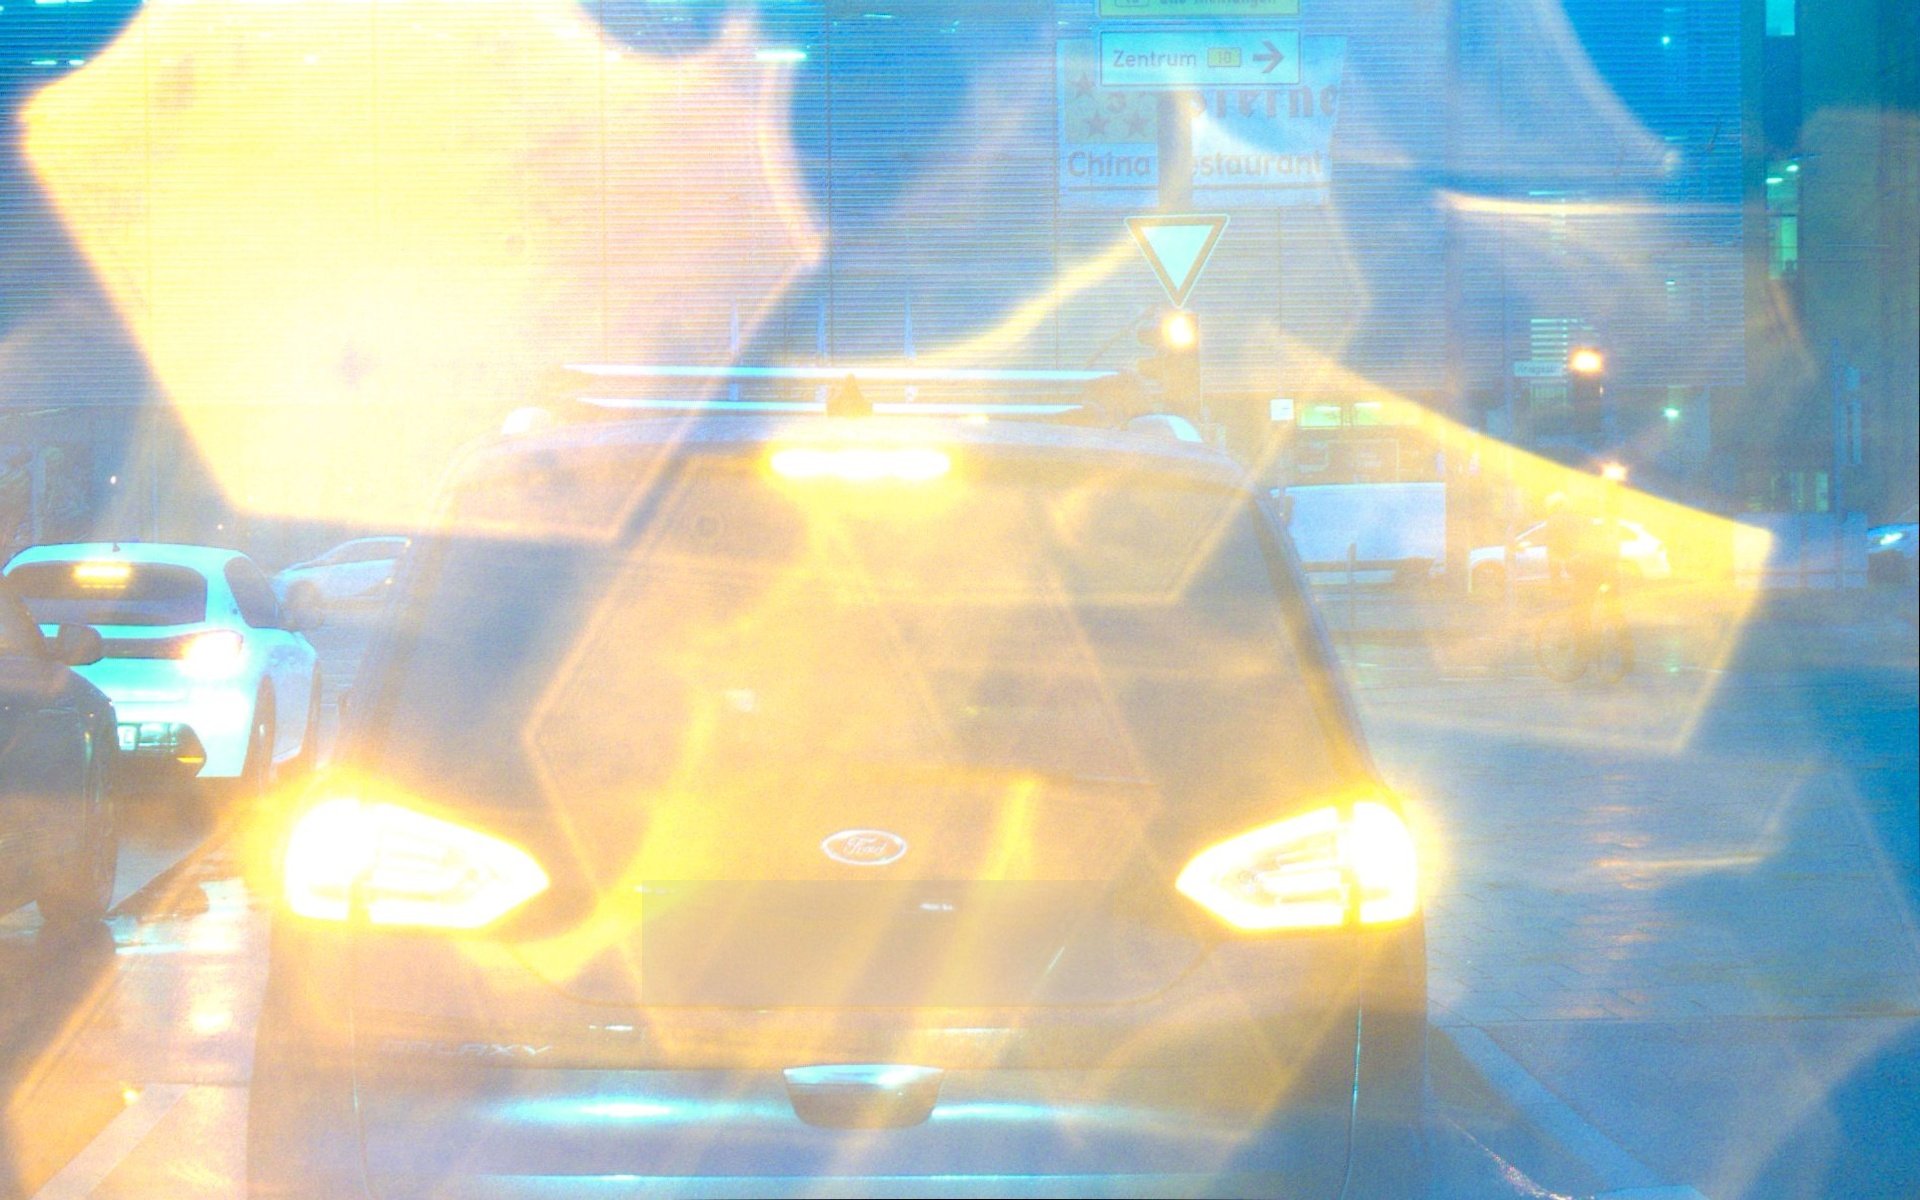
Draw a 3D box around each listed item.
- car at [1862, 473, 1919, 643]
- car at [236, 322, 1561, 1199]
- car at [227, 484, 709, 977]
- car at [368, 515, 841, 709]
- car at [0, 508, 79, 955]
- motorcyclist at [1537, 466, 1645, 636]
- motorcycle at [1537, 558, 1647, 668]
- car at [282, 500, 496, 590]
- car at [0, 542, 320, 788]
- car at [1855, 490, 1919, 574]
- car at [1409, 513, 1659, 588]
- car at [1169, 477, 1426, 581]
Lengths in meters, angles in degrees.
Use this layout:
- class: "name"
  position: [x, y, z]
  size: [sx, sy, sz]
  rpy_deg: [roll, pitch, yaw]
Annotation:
- class: "car"
  position: [12.526, -0.531, 38.880]
  size: [3.986, 1.868, 2.001]
  rpy_deg: [-2, 2, -11]
- class: "car"
  position: [-0.189, 0.477, 6.718]
  size: [1.735, 1.732, 4.247]
  rpy_deg: [2, 1, -3]
- class: "car"
  position: [-1.851, 0.428, 13.693]
  size: [1.636, 1.691, 3.671]
  rpy_deg: [0, 1, -5]
- class: "car"
  position: [-3.661, 0.100, 35.154]
  size: [4.667, 1.844, 1.832]
  rpy_deg: [-1, 0, -9]
- class: "car"
  position: [-4.211, 0.477, 11.528]
  size: [1.752, 1.568, 4.001]
  rpy_deg: [-1, 1, -4]
- class: "motorcyclist"
  position: [5.807, -0.455, 31.668]
  size: [0.868, 1.529, 1.108]
  rpy_deg: [0, 1, 5]
- class: "motorcycle"
  position: [5.806, 0.110, 31.663]
  size: [0.853, 0.968, 1.581]
  rpy_deg: [0, 1, 5]
- class: "car"
  position: [-11.210, -1.090, 67.686]
  size: [3.986, 1.612, 1.738]
  rpy_deg: [2, 1, -5]
- class: "car"
  position: [-4.516, 0.296, 19.549]
  size: [1.540, 1.247, 4.069]
  rpy_deg: [0, 1, -8]
- class: "car"
  position: [19.955, -1.348, 67.156]
  size: [4.418, 1.589, 1.800]
  rpy_deg: [-1, 1, -7]
- class: "car"
  position: [11.071, -0.962, 66.403]
  size: [4.418, 1.385, 1.800]
  rpy_deg: [-1, 1, -7]
- class: "car"
  position: [6.747, -1.424, 68.944]
  size: [4.838, 1.993, 1.800]
  rpy_deg: [-1, 1, -7]
